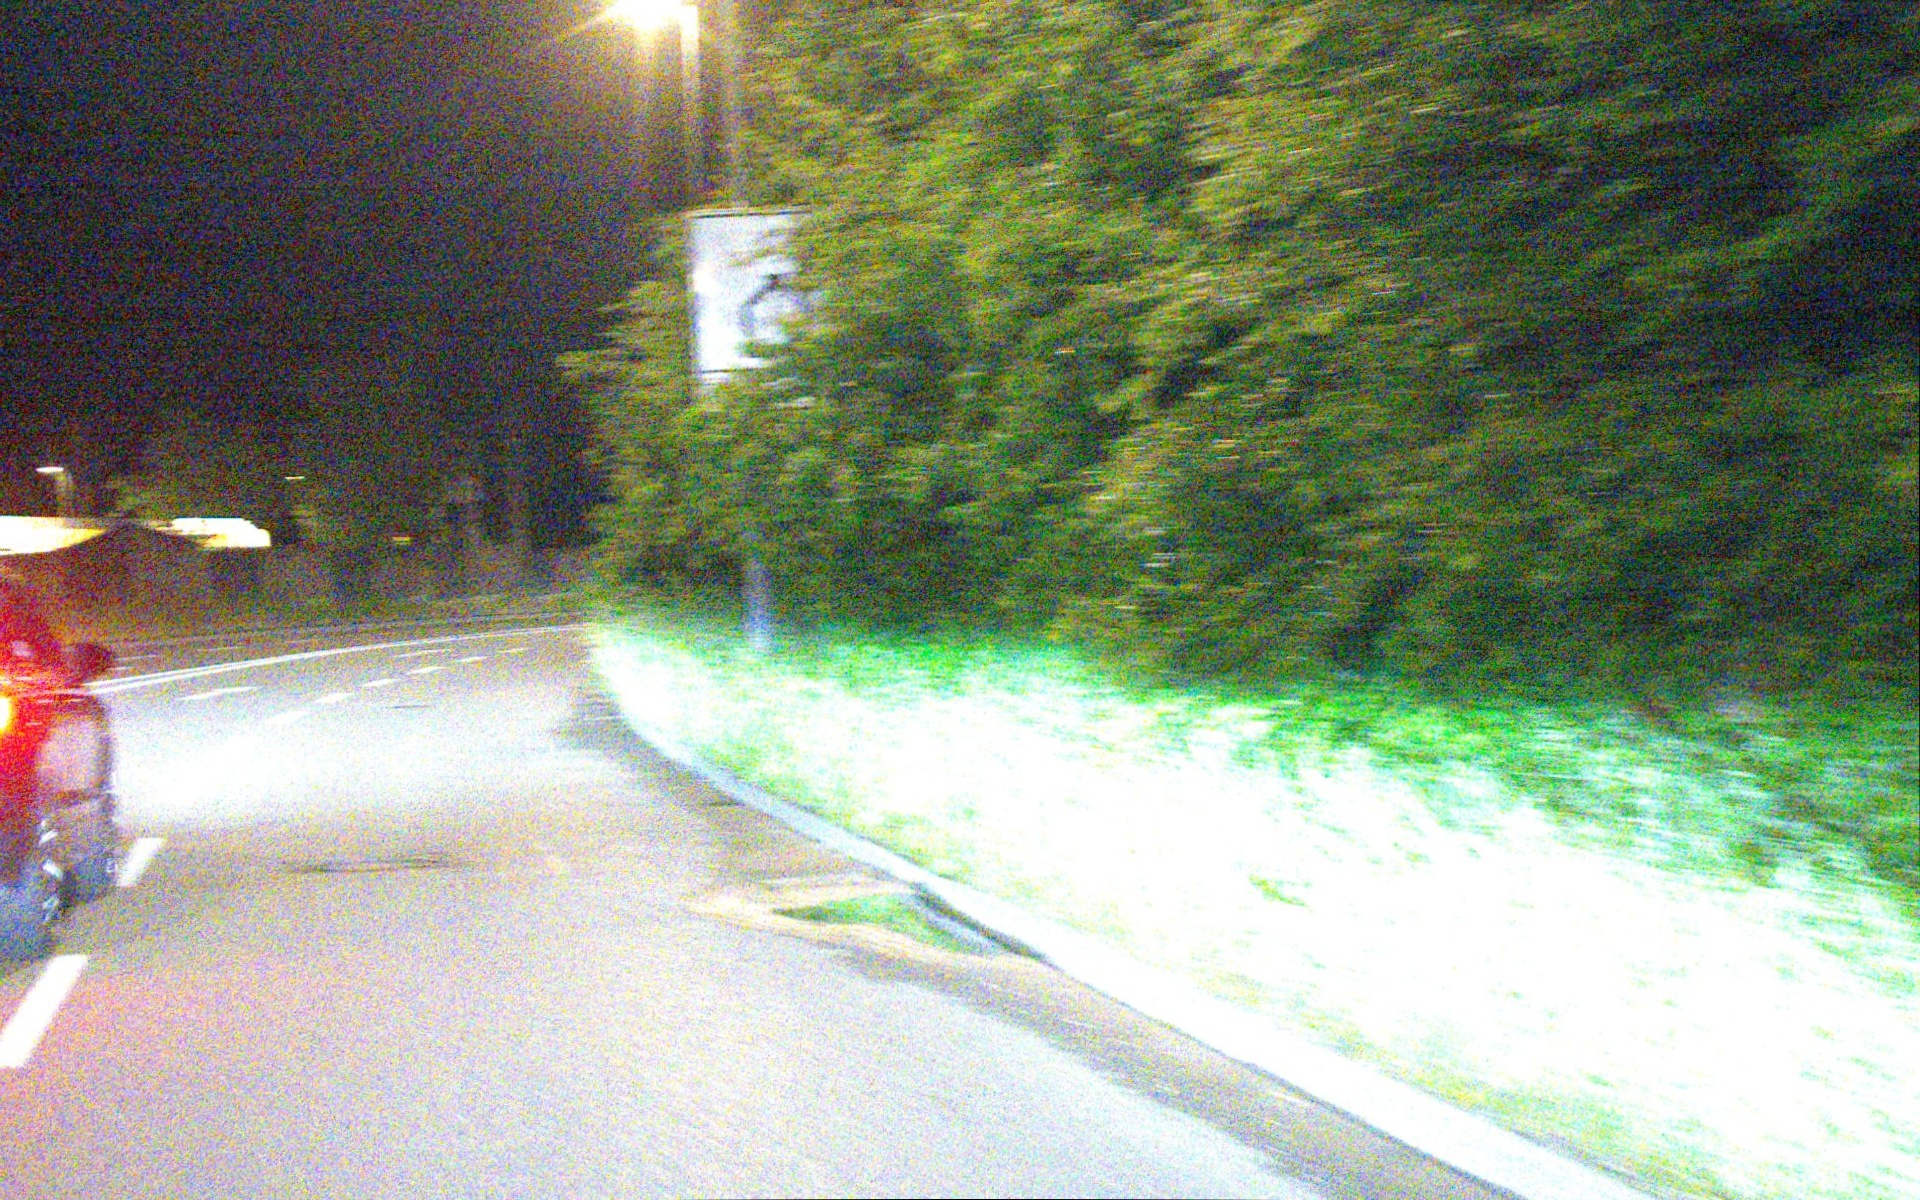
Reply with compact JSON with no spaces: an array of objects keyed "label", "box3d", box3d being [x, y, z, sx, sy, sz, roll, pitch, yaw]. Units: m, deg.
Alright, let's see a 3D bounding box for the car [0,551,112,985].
[{"label":"car","box3d":[-4.623,0.600,14.320,1.851,1.577,4.008,0,1,-10]}]
